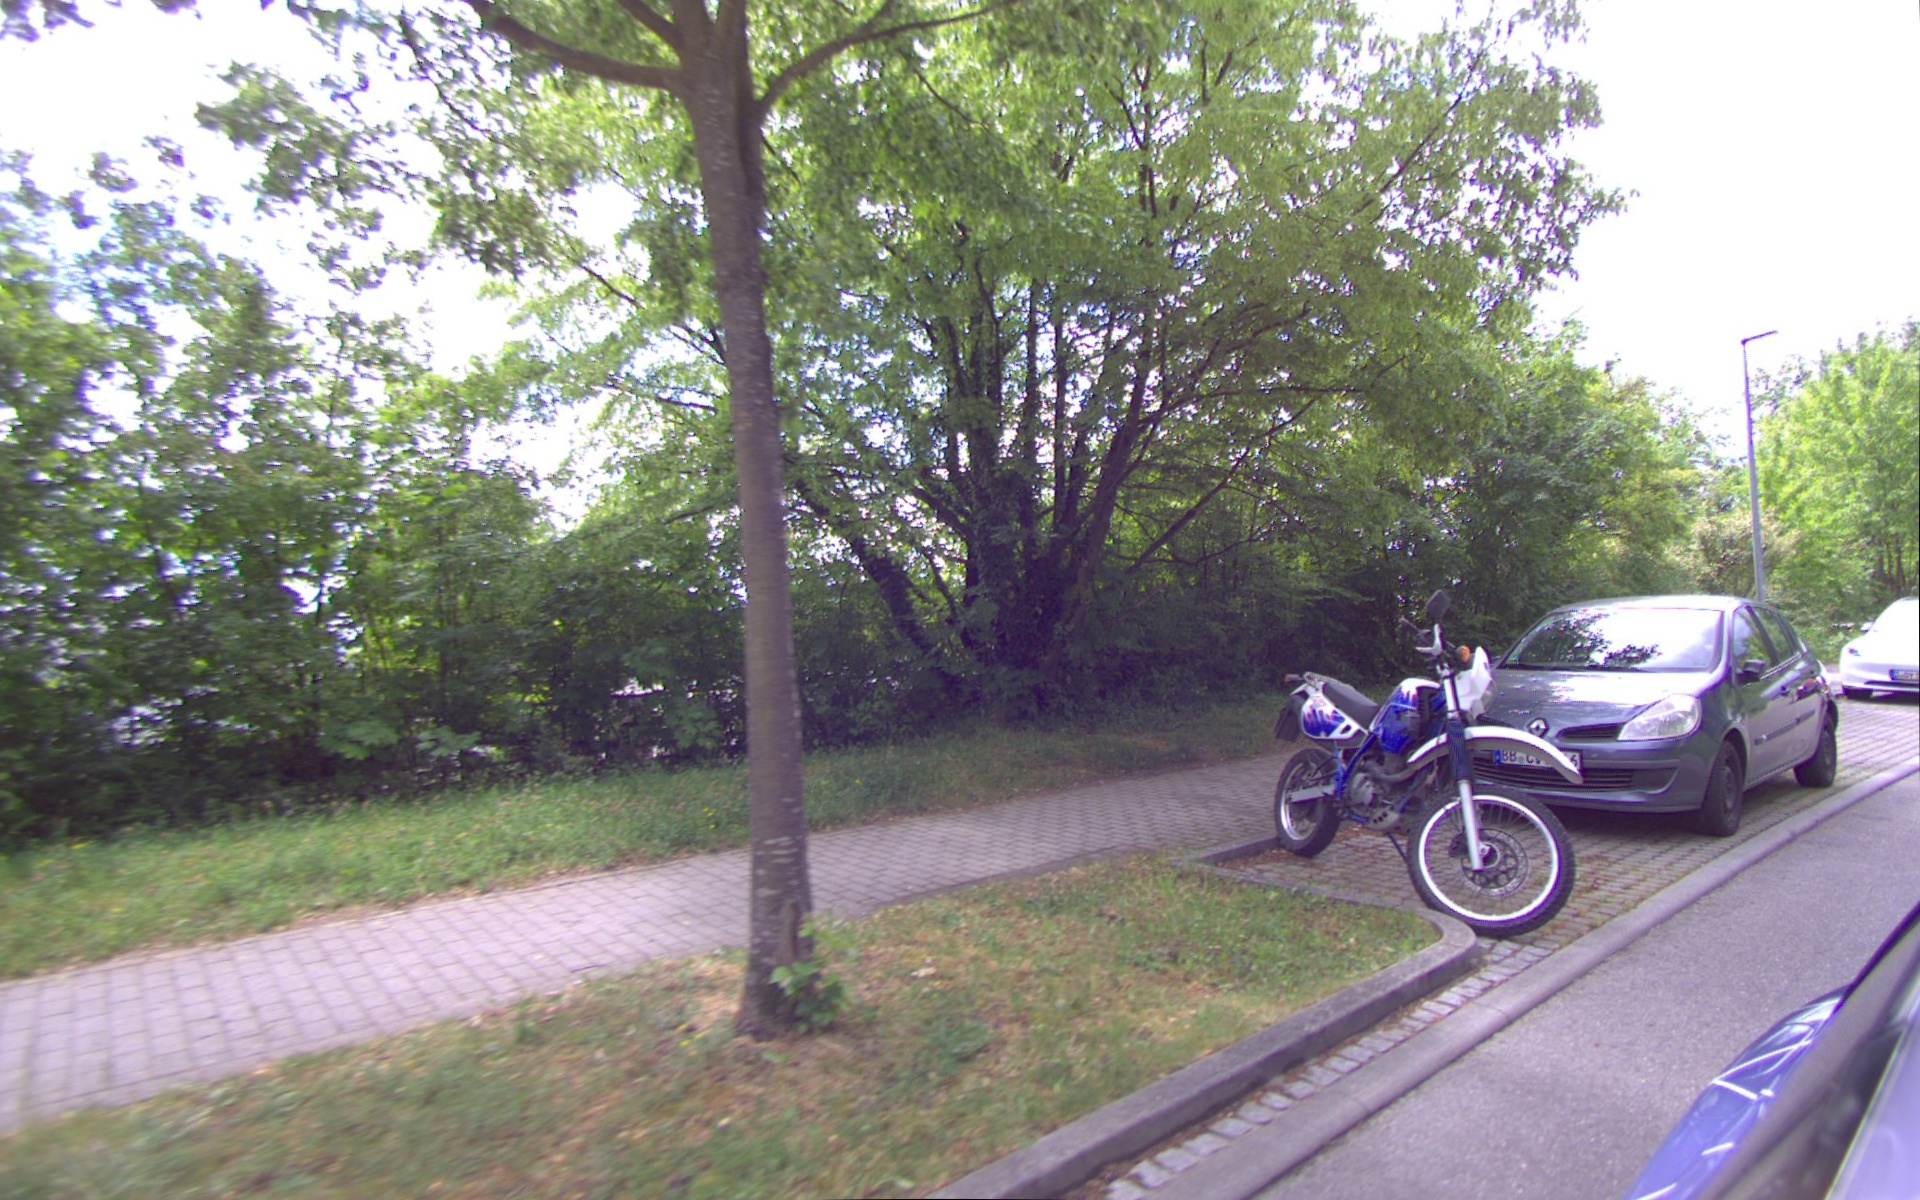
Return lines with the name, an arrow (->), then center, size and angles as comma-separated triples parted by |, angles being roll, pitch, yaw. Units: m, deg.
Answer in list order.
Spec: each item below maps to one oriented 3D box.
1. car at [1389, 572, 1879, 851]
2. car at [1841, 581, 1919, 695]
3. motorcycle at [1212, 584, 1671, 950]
car -> 5.152, 0.603, 7.559 | 4.031, 1.537, 1.774 | -1, -1, -37
car -> 14.617, 0.468, 14.554 | 4.809, 1.496, 1.868 | -1, 0, -35
motorcycle -> 2.327, 0.674, 5.382 | 0.955, 1.494, 2.317 | 0, 0, -13
